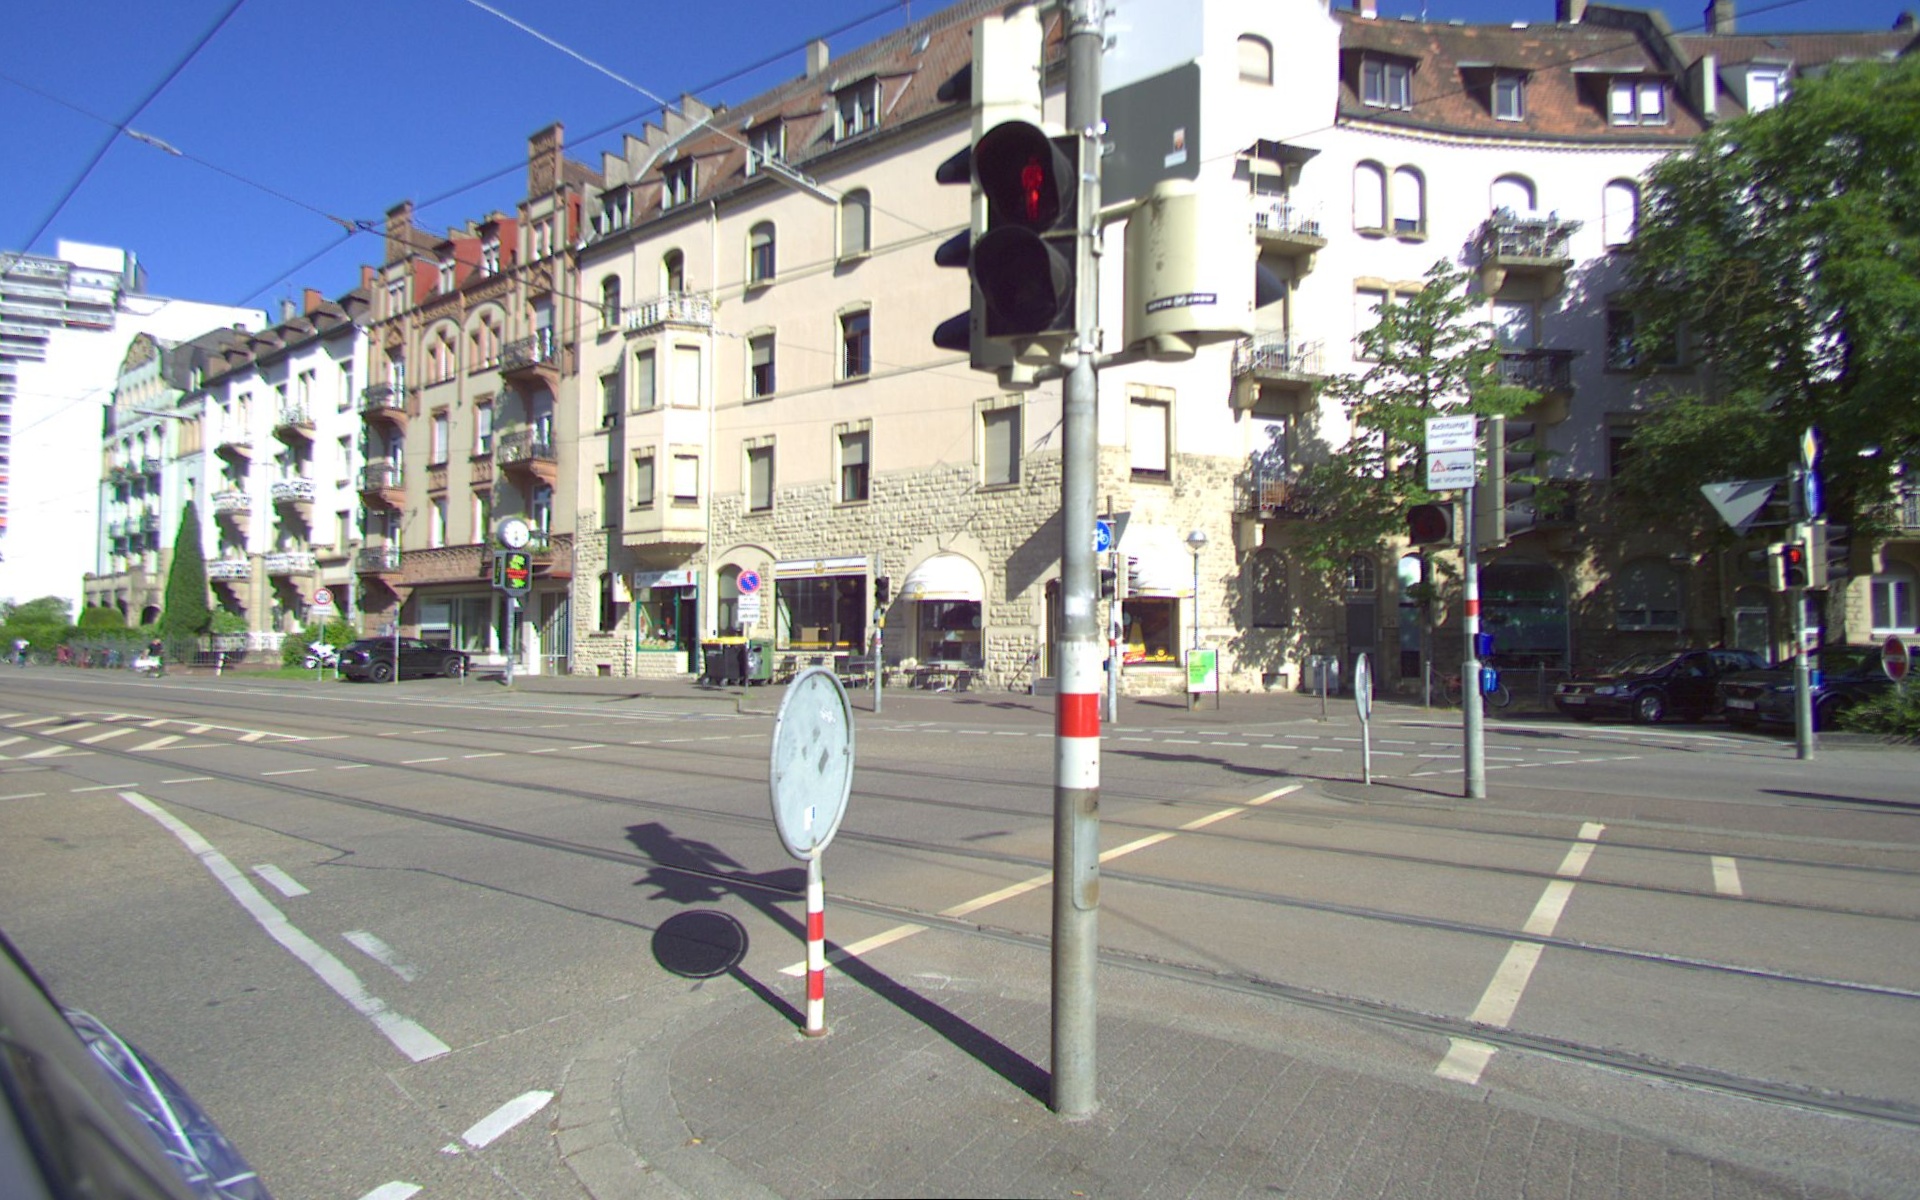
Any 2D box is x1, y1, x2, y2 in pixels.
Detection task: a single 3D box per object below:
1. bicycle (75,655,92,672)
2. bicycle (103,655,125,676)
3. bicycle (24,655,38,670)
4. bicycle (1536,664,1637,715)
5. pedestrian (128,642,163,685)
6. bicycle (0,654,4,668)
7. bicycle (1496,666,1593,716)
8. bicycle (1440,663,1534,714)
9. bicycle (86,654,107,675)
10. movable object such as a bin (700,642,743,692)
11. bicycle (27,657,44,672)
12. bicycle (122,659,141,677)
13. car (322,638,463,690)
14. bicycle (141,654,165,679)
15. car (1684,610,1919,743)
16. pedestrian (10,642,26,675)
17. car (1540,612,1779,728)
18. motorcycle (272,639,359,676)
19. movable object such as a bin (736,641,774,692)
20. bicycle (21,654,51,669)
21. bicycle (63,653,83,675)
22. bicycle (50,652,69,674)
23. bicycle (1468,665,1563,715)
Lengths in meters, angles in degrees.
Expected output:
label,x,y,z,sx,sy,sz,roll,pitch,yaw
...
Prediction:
label,x,y,z,sx,sy,sz,roll,pitch,yaw
bicycle,-42.548,3.094,49.112,1.540,0.767,0.314,-1,-2,38
bicycle,-39.354,3.040,47.059,1.746,0.949,0.400,-1,-2,38
bicycle,-50.548,3.406,55.050,1.261,0.767,0.335,-1,-2,38
bicycle,13.917,1.962,22.548,0.600,0.988,2.044,0,-1,-15
pedestrian,-32.982,2.551,40.999,0.869,1.640,0.859,-1,2,38
bicycle,-56.071,3.557,58.985,1.261,0.767,0.293,-1,-2,38
bicycle,13.060,2.014,22.704,0.600,0.988,2.044,0,-1,-15
bicycle,11.560,1.928,22.288,0.600,0.988,2.044,0,-1,-15
bicycle,-41.059,3.050,48.123,1.646,0.949,0.400,-1,-2,38
movable object such as a bin,-6.845,1.904,29.041,0.844,1.391,1.029,1,-2,-41
bicycle,-49.393,3.459,54.093,1.579,0.767,0.400,-1,-2,38
bicycle,-36.804,3.015,44.957,1.649,0.767,0.314,-1,-2,38
car,-19.811,2.192,35.489,1.765,1.514,3.958,-1,0,31
bicycle,-34.913,2.865,43.763,1.746,1.047,0.400,-1,-2,38
car,14.612,1.205,17.205,3.930,2.029,2.006,1,-2,-24
pedestrian,-48.892,3.027,52.509,0.658,1.641,0.470,-1,-2,38
car,13.482,1.271,19.544,3.930,2.029,2.006,1,-2,-24
motorcycle,-27.499,2.443,43.234,0.821,1.467,3.058,-1,-2,35
movable object such as a bin,-5.813,1.869,28.705,1.011,1.391,0.859,0,-2,-8
bicycle,-52.594,3.484,57.616,0.297,0.799,1.247,-1,-2,38
bicycle,-43.957,3.168,50.140,1.813,1.031,0.400,-1,-2,38
bicycle,-45.819,3.197,51.504,1.813,1.031,0.400,-1,-2,38
bicycle,12.313,1.977,22.506,0.600,0.988,2.044,0,-1,-15
